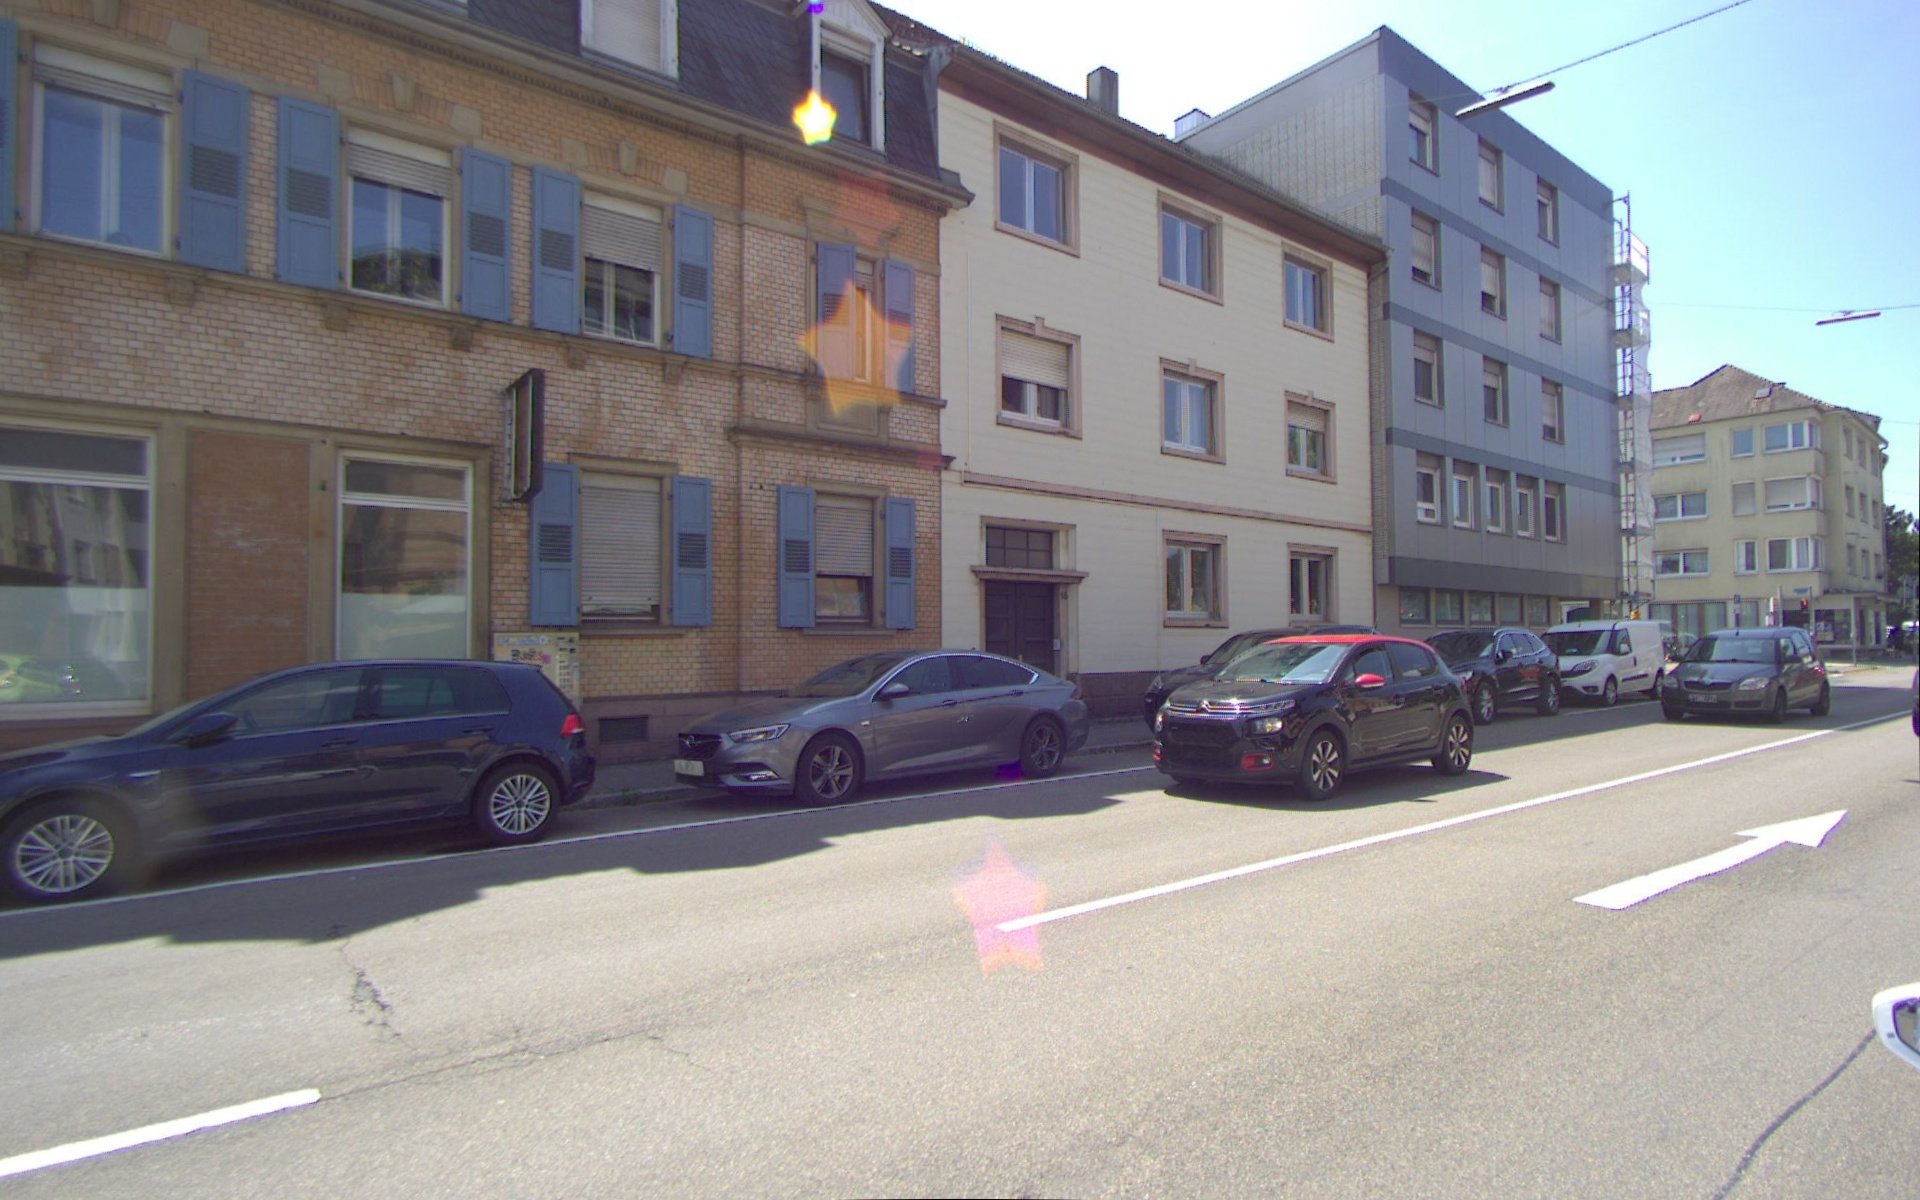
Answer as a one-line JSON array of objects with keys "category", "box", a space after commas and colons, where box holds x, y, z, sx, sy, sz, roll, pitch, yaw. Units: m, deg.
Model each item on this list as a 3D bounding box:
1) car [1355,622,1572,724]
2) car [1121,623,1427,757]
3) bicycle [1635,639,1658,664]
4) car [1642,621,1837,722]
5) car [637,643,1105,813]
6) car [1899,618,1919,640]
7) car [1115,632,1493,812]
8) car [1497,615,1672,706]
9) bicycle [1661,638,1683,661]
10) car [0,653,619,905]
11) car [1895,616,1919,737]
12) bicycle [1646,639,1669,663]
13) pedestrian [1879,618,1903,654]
[{"category": "car", "box": [9.412, 1.298, 18.622, 4.624, 1.662, 1.870, 2, -4, -40]}, {"category": "car", "box": [4.707, 1.232, 14.733, 4.774, 1.662, 1.871, 2, -4, -38]}, {"category": "bicycle", "box": [27.670, 2.061, 40.479, 1.706, 0.980, 0.393, 2, -2, -43]}, {"category": "car", "box": [13.902, 1.211, 17.828, 4.273, 1.595, 1.689, 1, -3, -38]}, {"category": "car", "box": [-0.763, 1.236, 10.734, 4.800, 1.424, 1.850, 2, -7, -41]}, {"category": "car", "box": [116.012, 3.542, 122.191, 2.192, 2.533, 7.513, -6, -6, 42]}, {"category": "car", "box": [3.638, 1.099, 10.321, 4.096, 1.497, 1.689, 1, -3, -38]}, {"category": "car", "box": [14.161, 1.338, 22.685, 4.749, 1.849, 1.899, 2, -4, -40]}, {"category": "bicycle", "box": [30.587, 2.128, 43.125, 1.770, 0.980, 0.393, 2, -2, -43]}, {"category": "car", "box": [-4.985, 1.162, 7.448, 4.298, 1.424, 1.850, 2, -7, -41]}, {"category": "car", "box": [15.115, 1.074, 14.498, 3.963, 1.653, 1.741, 1, -1, -37]}, {"category": "bicycle", "box": [29.003, 2.103, 41.745, 1.733, 0.980, 0.393, 2, -2, -43]}, {"category": "pedestrian", "box": [51.782, 2.012, 55.874, 0.924, 1.957, 0.972, -1, -2, 40]}]
